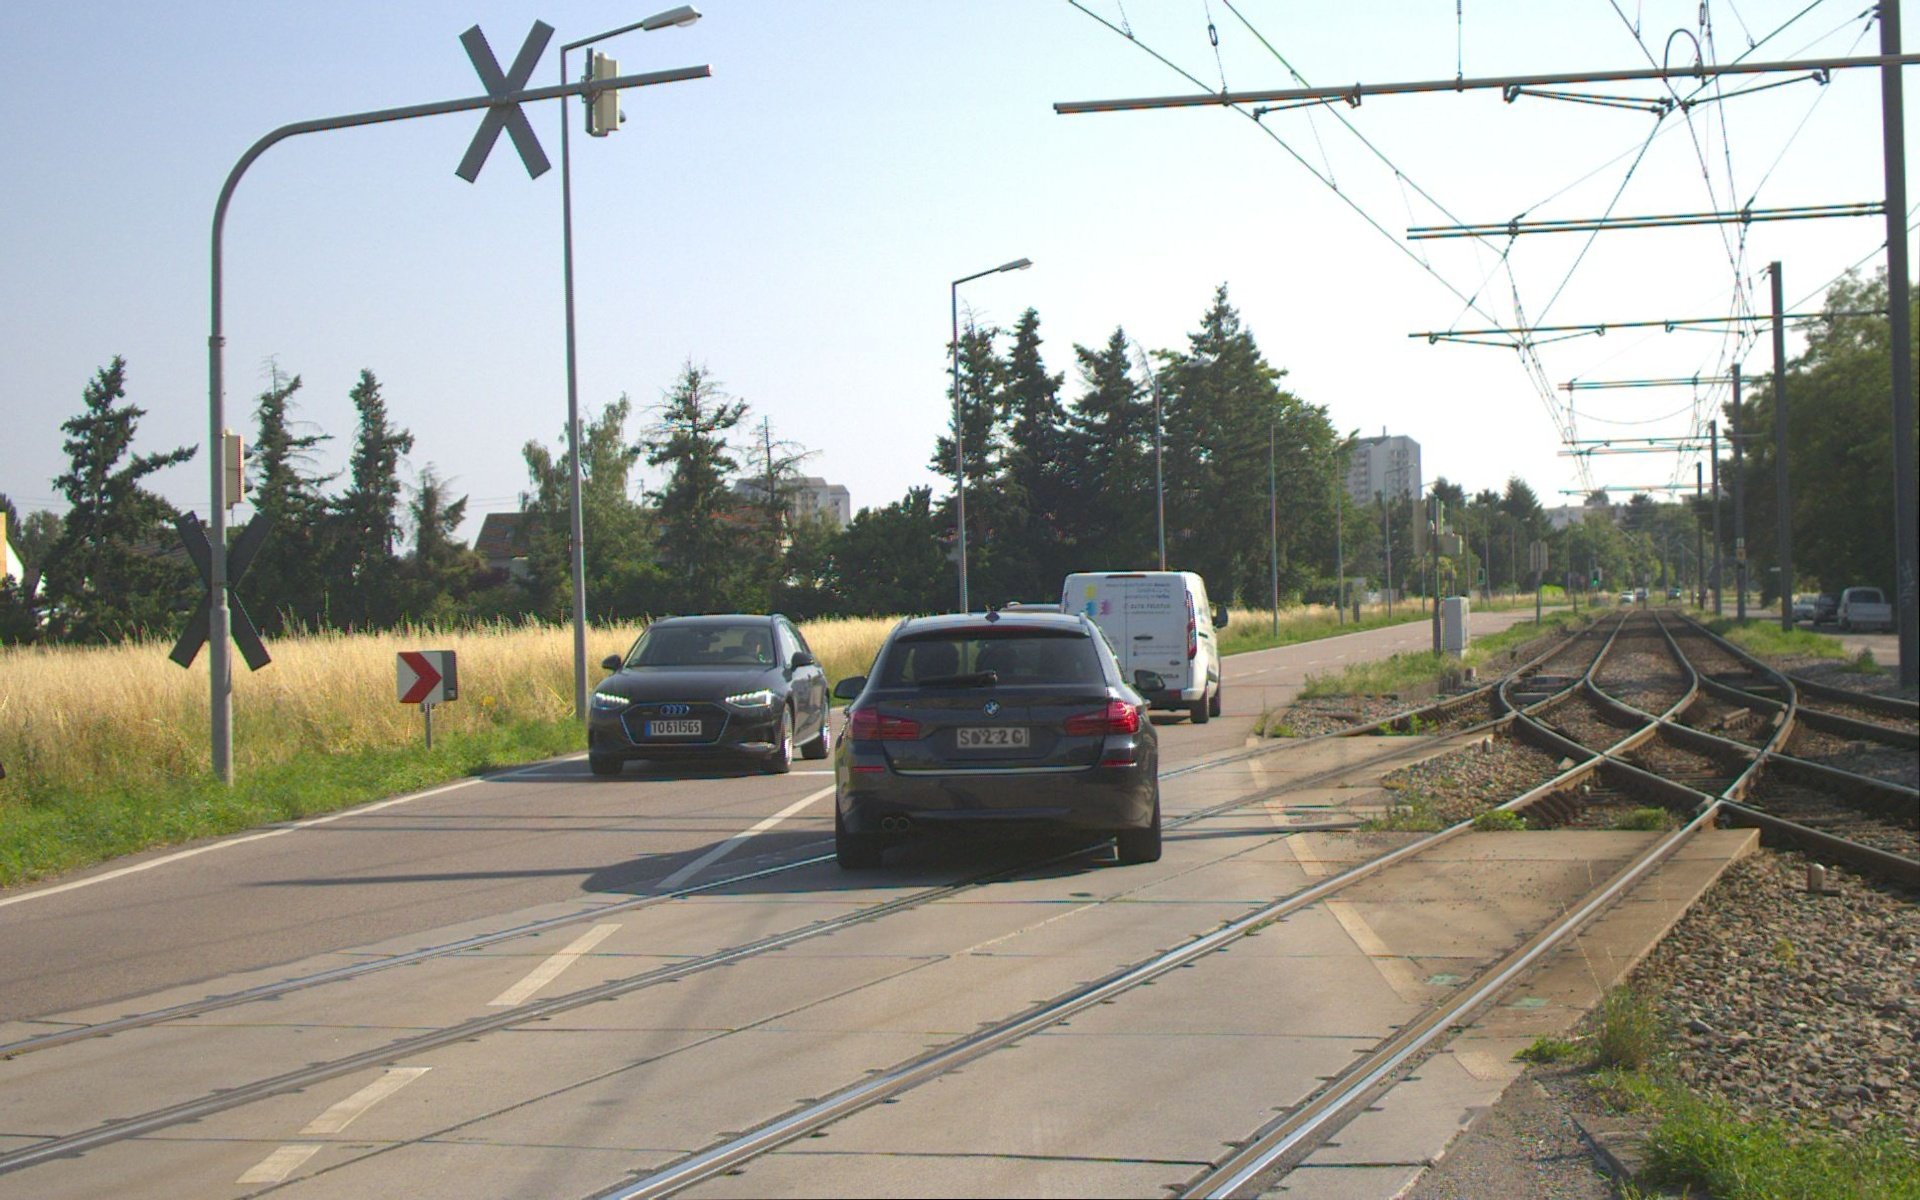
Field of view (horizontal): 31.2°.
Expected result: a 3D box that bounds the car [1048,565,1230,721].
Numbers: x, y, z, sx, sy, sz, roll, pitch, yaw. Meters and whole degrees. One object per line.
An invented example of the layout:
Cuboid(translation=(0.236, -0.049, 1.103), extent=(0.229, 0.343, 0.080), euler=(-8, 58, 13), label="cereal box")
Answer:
Cuboid(translation=(2.469, 0.532, 46.123), extent=(1.858, 1.981, 5.106), euler=(0, 0, 10), label="car")

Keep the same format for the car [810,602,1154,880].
Cuboid(translation=(0.171, 0.770, 21.051), extent=(1.869, 1.447, 4.743), euler=(0, 1, 1), label="car")

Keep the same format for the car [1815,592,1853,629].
Cuboid(translation=(42.161, 0.526, 165.832), extent=(1.736, 1.674, 3.541), euler=(0, -1, 14), label="car")

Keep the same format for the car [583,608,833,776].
Cuboid(translation=(-2.293, 0.808, 32.280), extent=(1.693, 1.435, 4.283), euler=(0, 0, 5), label="car")

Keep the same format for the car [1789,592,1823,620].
Cuboid(translation=(45.171, 0.337, 183.541), extent=(1.622, 1.394, 3.488), euler=(0, -1, 11), label="car")

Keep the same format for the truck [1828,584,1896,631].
Cuboid(translation=(36.260, 0.288, 138.349), extent=(2.205, 1.813, 5.926), euler=(-1, 0, 11), label="truck")
